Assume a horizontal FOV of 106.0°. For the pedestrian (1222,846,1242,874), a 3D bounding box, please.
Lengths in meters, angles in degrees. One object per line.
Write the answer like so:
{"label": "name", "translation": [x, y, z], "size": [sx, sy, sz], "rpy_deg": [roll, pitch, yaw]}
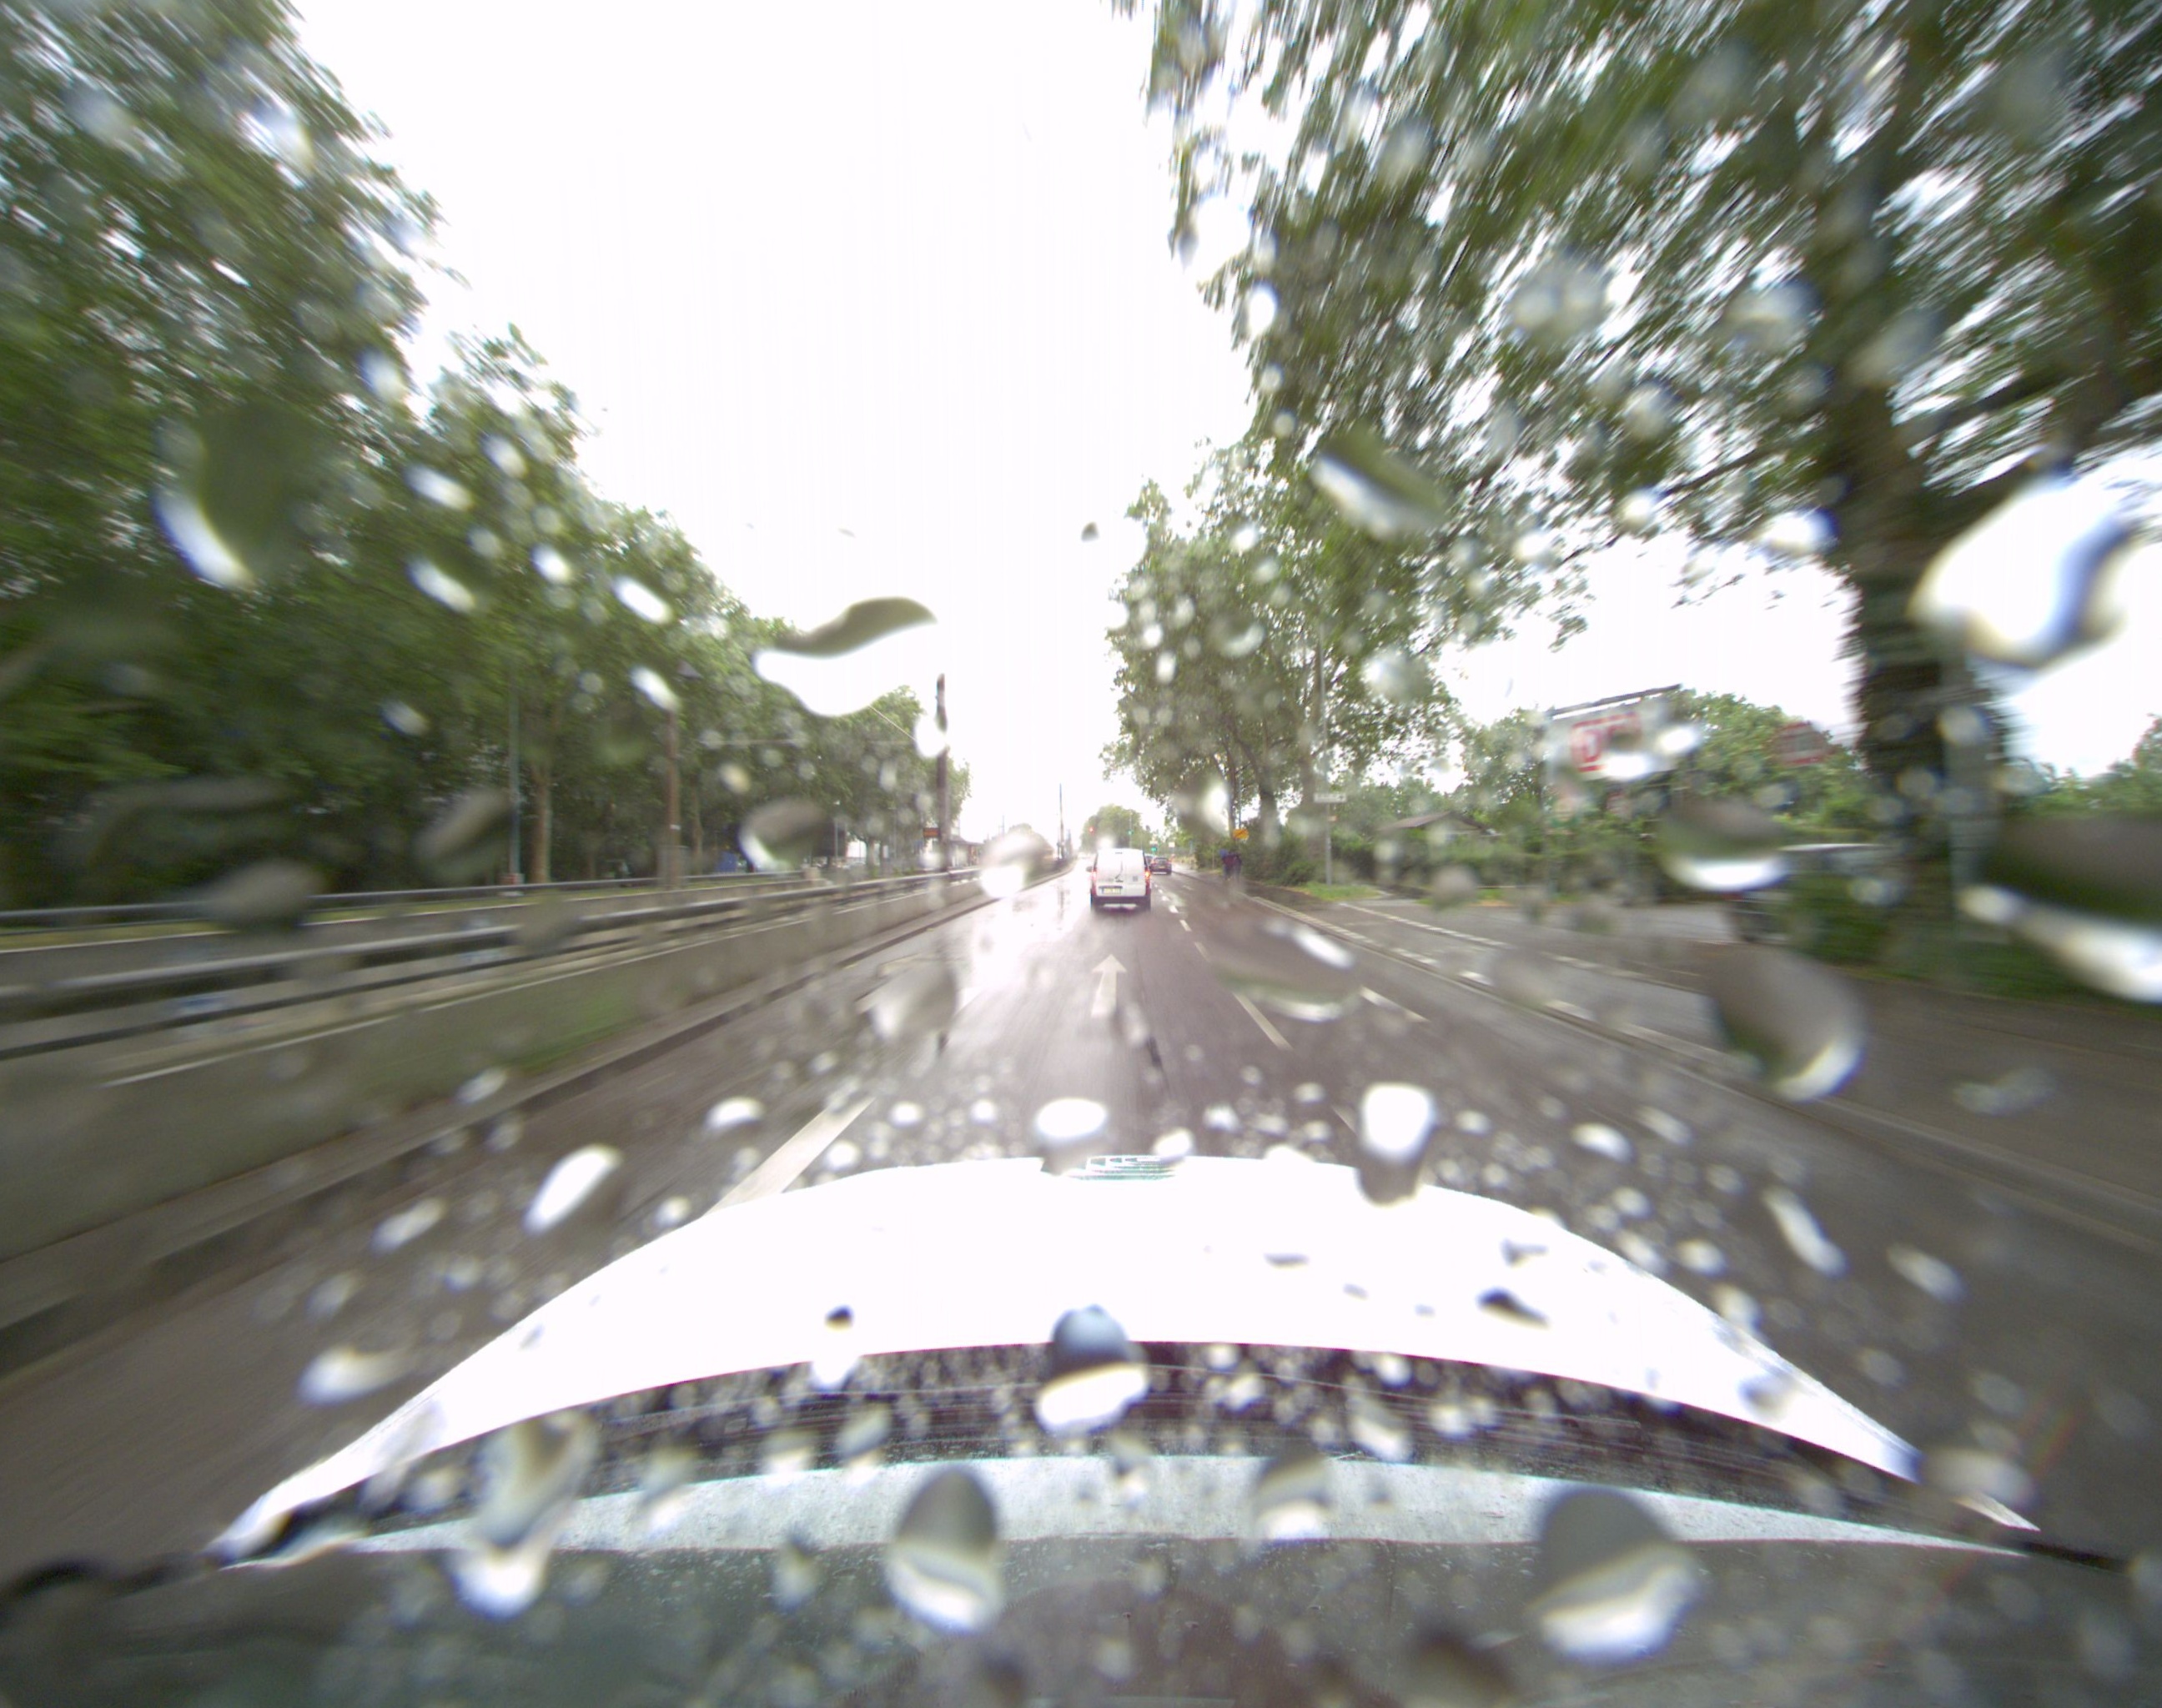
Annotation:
{"label": "pedestrian", "translation": [8.606, 0.349, 46.522], "size": [0.943, 1.589, 1.295], "rpy_deg": [-1, -1, 3]}

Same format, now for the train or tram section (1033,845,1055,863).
{"label": "train or tram section", "translation": [-8.643, 0.044, 196.160], "size": [3.757, 4.036, 27.092], "rpy_deg": [1, 0, 1]}

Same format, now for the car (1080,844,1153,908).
{"label": "car", "translation": [0.984, 0.621, 24.969], "size": [2.018, 1.775, 4.273], "rpy_deg": [1, 0, 0]}

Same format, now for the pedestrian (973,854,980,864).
{"label": "pedestrian", "translation": [-12.985, 0.621, 100.834], "size": [0.640, 1.303, 0.816], "rpy_deg": [1, 0, 6]}

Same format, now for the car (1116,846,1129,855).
{"label": "car", "translation": [7.761, -0.647, 152.076], "size": [1.990, 1.750, 3.994], "rpy_deg": [1, 0, -4]}

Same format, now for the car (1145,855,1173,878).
{"label": "car", "translation": [6.289, 0.976, 66.023], "size": [1.986, 1.750, 4.002], "rpy_deg": [1, 0, 2]}

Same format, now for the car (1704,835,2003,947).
{"label": "car", "translation": [11.965, 0.506, 12.731], "size": [3.378, 1.608, 1.654], "rpy_deg": [0, 1, -8]}

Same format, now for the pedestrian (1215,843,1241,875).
{"label": "pedestrian", "translation": [8.675, 0.319, 48.150], "size": [1.235, 1.785, 1.148], "rpy_deg": [-4, -1, 2]}

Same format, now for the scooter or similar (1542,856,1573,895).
{"label": "scooter or similar", "translation": [14.051, 0.622, 24.028], "size": [0.455, 1.117, 1.280], "rpy_deg": [1, 0, 15]}

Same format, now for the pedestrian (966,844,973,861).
{"label": "pedestrian", "translation": [-13.018, -0.180, 95.346], "size": [0.618, 1.933, 0.816], "rpy_deg": [1, -1, 6]}

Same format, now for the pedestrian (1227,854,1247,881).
{"label": "pedestrian", "translation": [8.398, 0.728, 43.815], "size": [0.888, 1.390, 1.017], "rpy_deg": [-2, -1, 3]}

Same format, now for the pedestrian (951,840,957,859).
{"label": "pedestrian", "translation": [-13.895, -0.473, 89.156], "size": [0.492, 2.014, 0.582], "rpy_deg": [1, -1, -2]}
